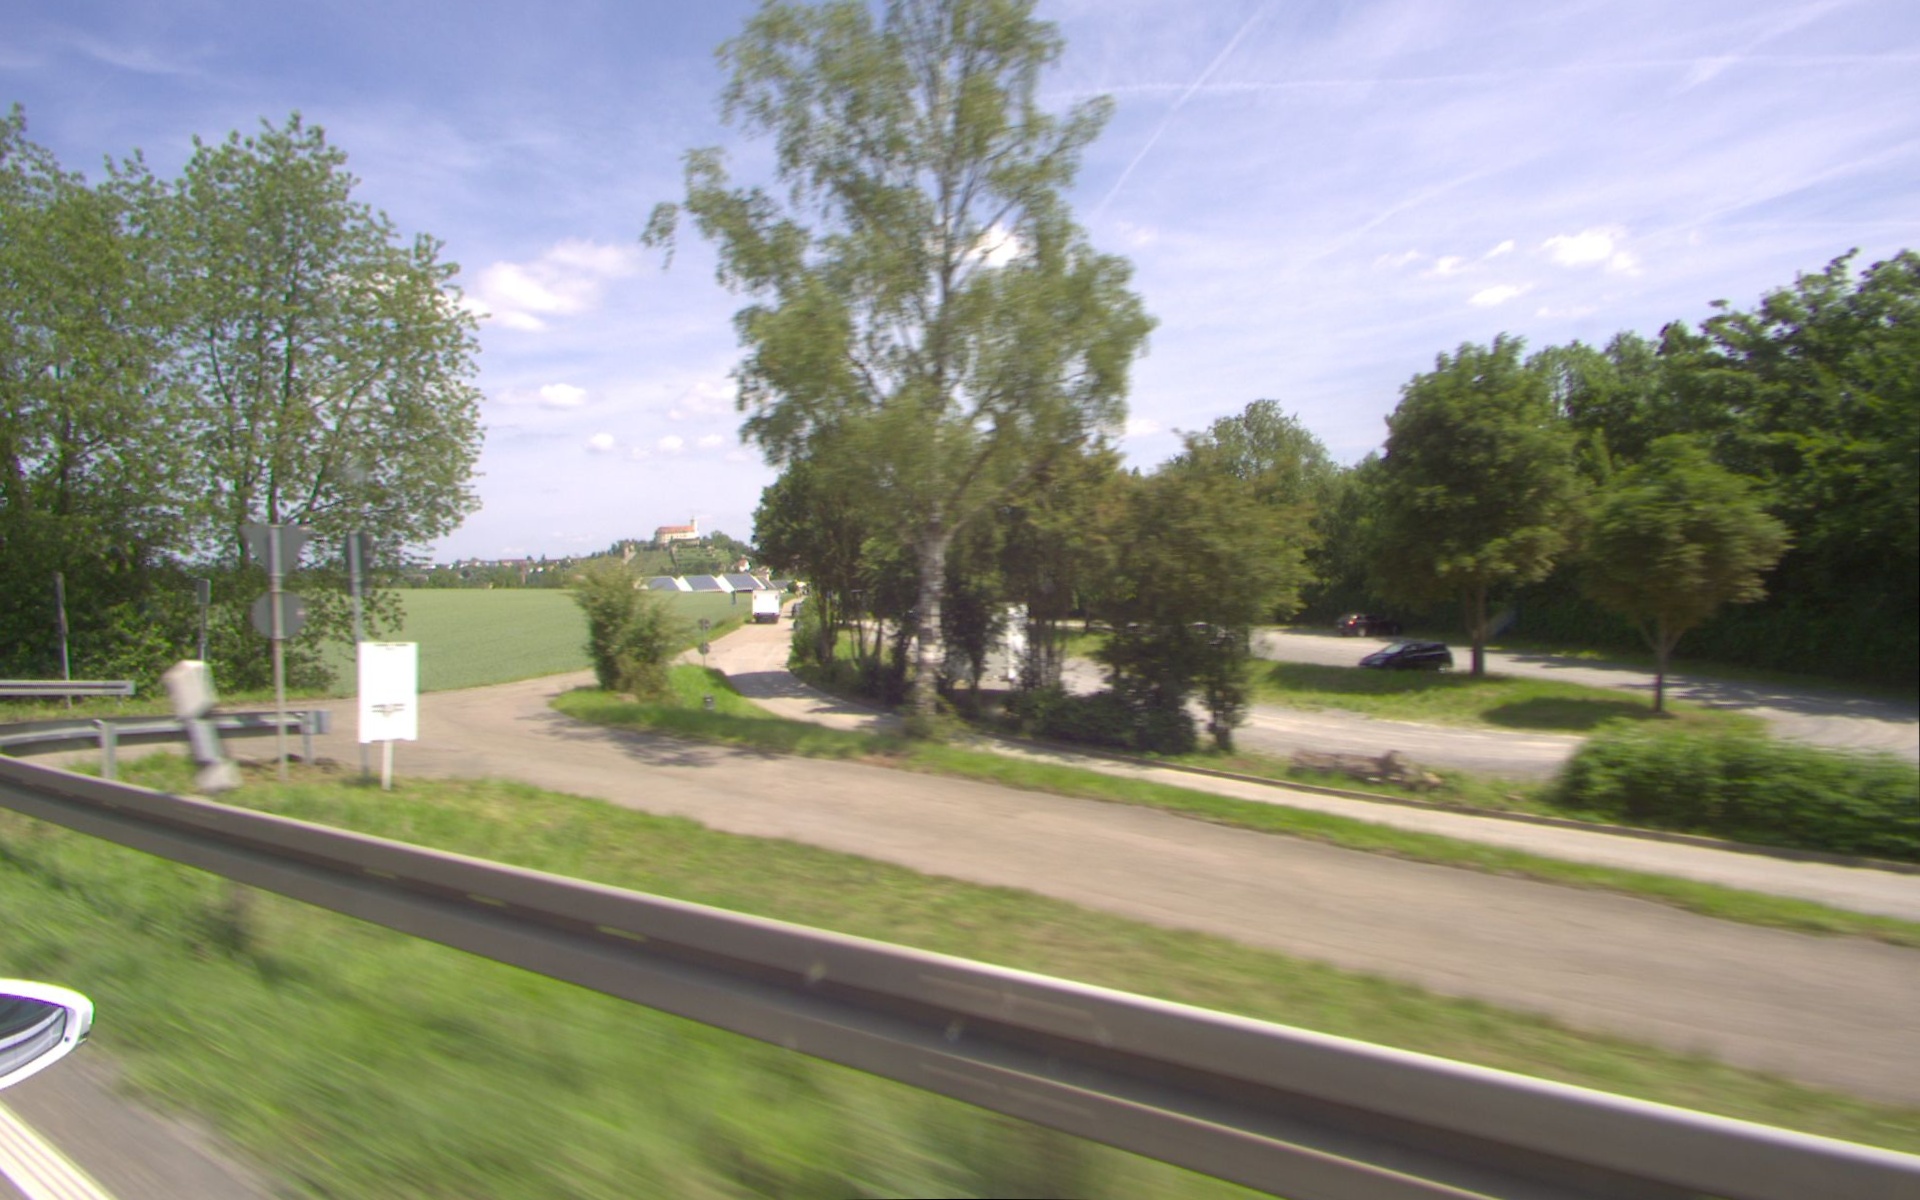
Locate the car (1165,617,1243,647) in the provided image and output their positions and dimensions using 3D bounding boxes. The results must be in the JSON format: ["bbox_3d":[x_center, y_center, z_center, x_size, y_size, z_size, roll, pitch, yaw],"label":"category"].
[{"bbox_3d":[15.046,1.959,61.844,4.260,1.681,1.999,-1,2,-2],"label":"car"}]

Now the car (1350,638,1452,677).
[{"bbox_3d":[19.007,2.452,43.236,3.624,1.512,1.693,-1,2,-4],"label":"car"}]

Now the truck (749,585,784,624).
[{"bbox_3d":[-19.433,0.391,101.127,3.092,3.585,7.130,-1,2,-8],"label":"truck"}]

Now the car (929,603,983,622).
[{"bbox_3d":[-0.361,1.208,96.427,4.857,1.726,1.992,1,0,28],"label":"car"}]

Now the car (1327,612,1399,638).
[{"bbox_3d":[26.642,1.635,66.234,4.092,1.512,1.898,-2,2,-17],"label":"car"}]

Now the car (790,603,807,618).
[{"bbox_3d":[-17.845,1.136,110.763,1.805,1.427,4.441,-2,1,-9],"label":"car"}]
